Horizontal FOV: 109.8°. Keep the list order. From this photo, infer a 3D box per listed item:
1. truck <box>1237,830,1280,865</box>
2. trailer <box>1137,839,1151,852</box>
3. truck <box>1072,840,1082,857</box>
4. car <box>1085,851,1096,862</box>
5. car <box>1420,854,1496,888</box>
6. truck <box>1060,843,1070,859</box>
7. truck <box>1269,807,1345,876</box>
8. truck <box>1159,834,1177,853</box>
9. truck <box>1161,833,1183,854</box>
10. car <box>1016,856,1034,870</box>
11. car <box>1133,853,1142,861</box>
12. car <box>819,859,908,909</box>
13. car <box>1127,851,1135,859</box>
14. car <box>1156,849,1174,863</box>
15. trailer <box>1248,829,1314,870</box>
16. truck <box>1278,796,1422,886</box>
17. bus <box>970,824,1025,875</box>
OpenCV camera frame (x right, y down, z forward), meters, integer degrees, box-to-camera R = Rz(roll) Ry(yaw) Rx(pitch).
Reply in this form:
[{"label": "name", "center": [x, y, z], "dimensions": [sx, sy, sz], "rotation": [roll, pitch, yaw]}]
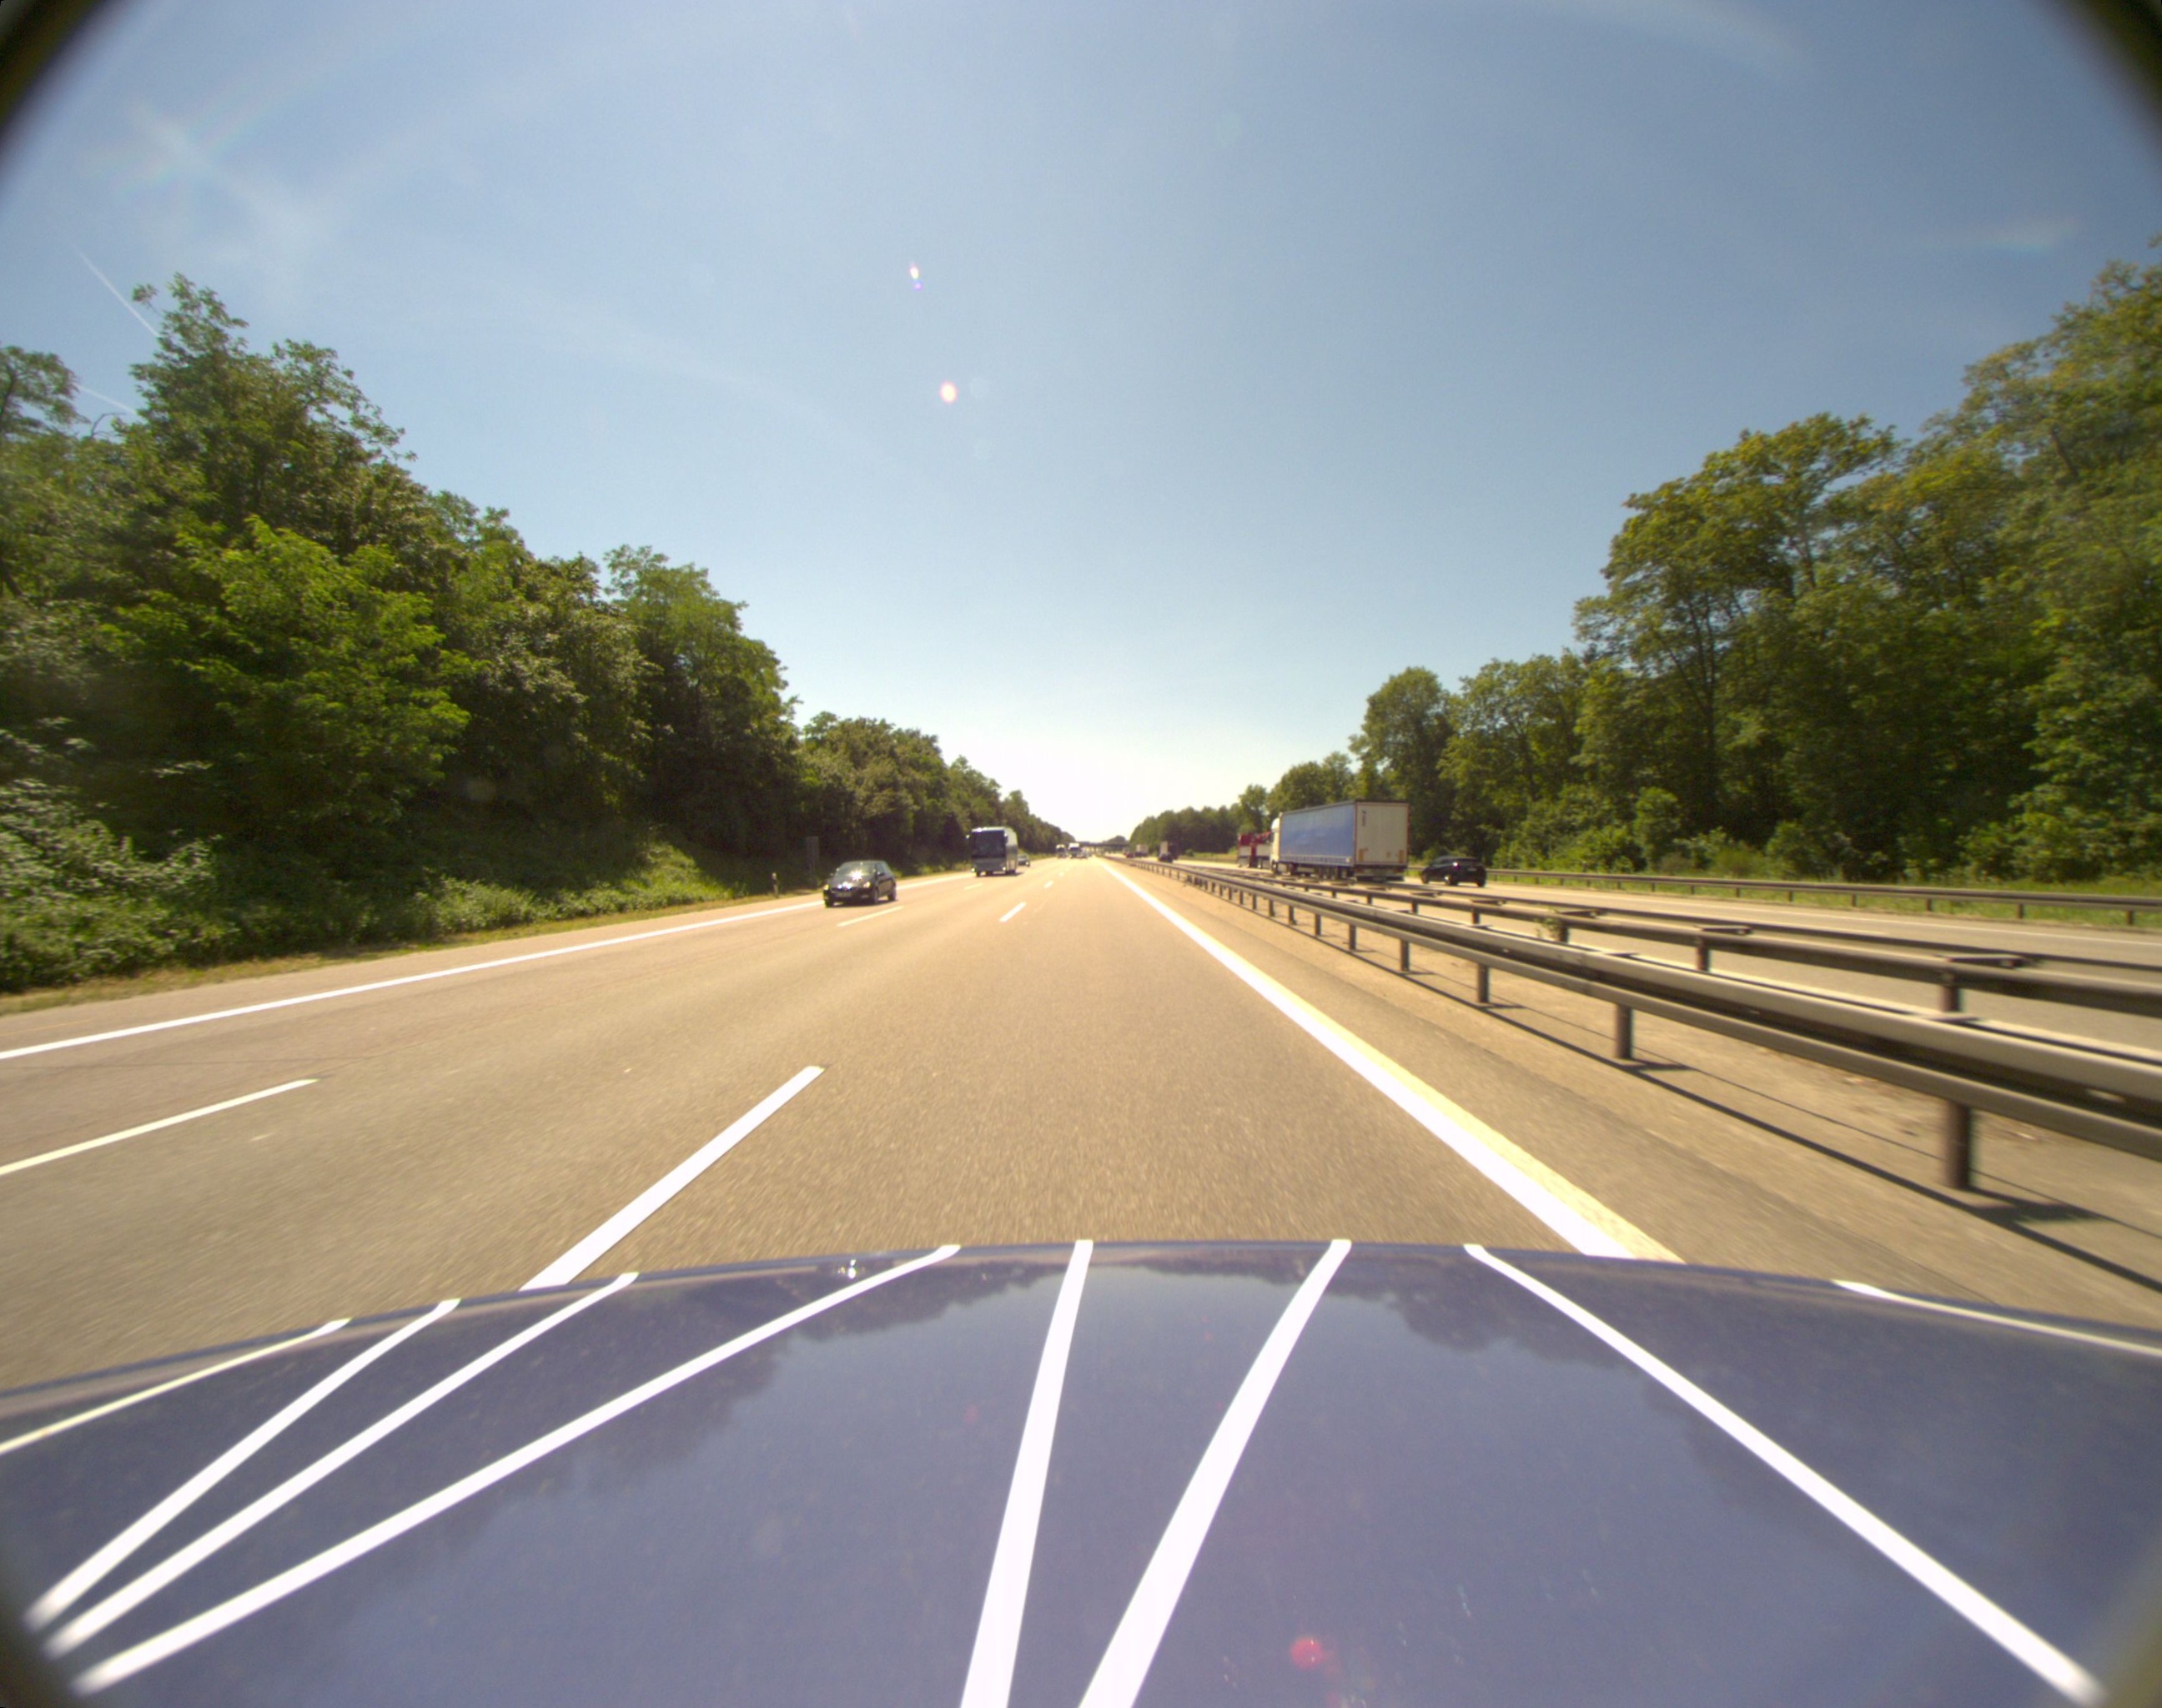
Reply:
[{"label": "truck", "center": [18.214, -0.673, 78.382], "dimensions": [2.756, 3.374, 7.661], "rotation": [-2, 1, 1]}, {"label": "trailer", "center": [19.728, -2.656, 240.124], "dimensions": [2.586, 3.966, 8.553], "rotation": [-2, 1, -7]}, {"label": "truck", "center": [-1.058, -1.525, 210.409], "dimensions": [2.616, 4.638, 10.960], "rotation": [-2, 1, 0]}, {"label": "car", "center": [2.216, 0.599, 184.396], "dimensions": [2.616, 2.389, 7.122], "rotation": [-2, 1, 0]}, {"label": "car", "center": [18.170, 0.766, 36.853], "dimensions": [1.829, 1.527, 4.010], "rotation": [0, 0, 2]}, {"label": "truck", "center": [-4.739, -0.913, 233.337], "dimensions": [2.616, 4.638, 10.960], "rotation": [-2, 1, 0]}, {"label": "truck", "center": [14.224, -0.771, 48.406], "dimensions": [2.994, 3.995, 6.040], "rotation": [-2, 1, 0]}, {"label": "truck", "center": [20.131, -2.426, 175.578], "dimensions": [3.332, 4.317, 6.612], "rotation": [-2, 1, 0]}, {"label": "truck", "center": [20.087, -2.337, 168.765], "dimensions": [3.332, 4.316, 13.908], "rotation": [-2, 1, 0]}, {"label": "car", "center": [-6.940, 1.061, 94.127], "dimensions": [1.814, 1.607, 3.999], "rotation": [-1, 1, 1]}, {"label": "car", "center": [15.579, 0.868, 208.456], "dimensions": [1.998, 2.002, 5.358], "rotation": [2, 1, 1]}, {"label": "car", "center": [-7.359, 0.955, 26.172], "dimensions": [1.674, 1.439, 4.573], "rotation": [-2, 1, 0]}, {"label": "car", "center": [11.716, 0.206, 178.316], "dimensions": [1.736, 1.576, 4.644], "rotation": [-2, 1, 2]}, {"label": "car", "center": [10.760, 0.249, 97.381], "dimensions": [1.811, 1.582, 4.668], "rotation": [-2, 1, 1]}, {"label": "trailer", "center": [18.069, -0.460, 69.747], "dimensions": [2.786, 3.374, 13.288], "rotation": [-2, 1, 1]}, {"label": "truck", "center": [14.177, -0.686, 41.843], "dimensions": [2.994, 3.995, 13.934], "rotation": [-2, 1, 1]}, {"label": "bus", "center": [-6.416, -0.430, 60.574], "dimensions": [2.617, 3.532, 13.680], "rotation": [-2, 1, 1]}]
